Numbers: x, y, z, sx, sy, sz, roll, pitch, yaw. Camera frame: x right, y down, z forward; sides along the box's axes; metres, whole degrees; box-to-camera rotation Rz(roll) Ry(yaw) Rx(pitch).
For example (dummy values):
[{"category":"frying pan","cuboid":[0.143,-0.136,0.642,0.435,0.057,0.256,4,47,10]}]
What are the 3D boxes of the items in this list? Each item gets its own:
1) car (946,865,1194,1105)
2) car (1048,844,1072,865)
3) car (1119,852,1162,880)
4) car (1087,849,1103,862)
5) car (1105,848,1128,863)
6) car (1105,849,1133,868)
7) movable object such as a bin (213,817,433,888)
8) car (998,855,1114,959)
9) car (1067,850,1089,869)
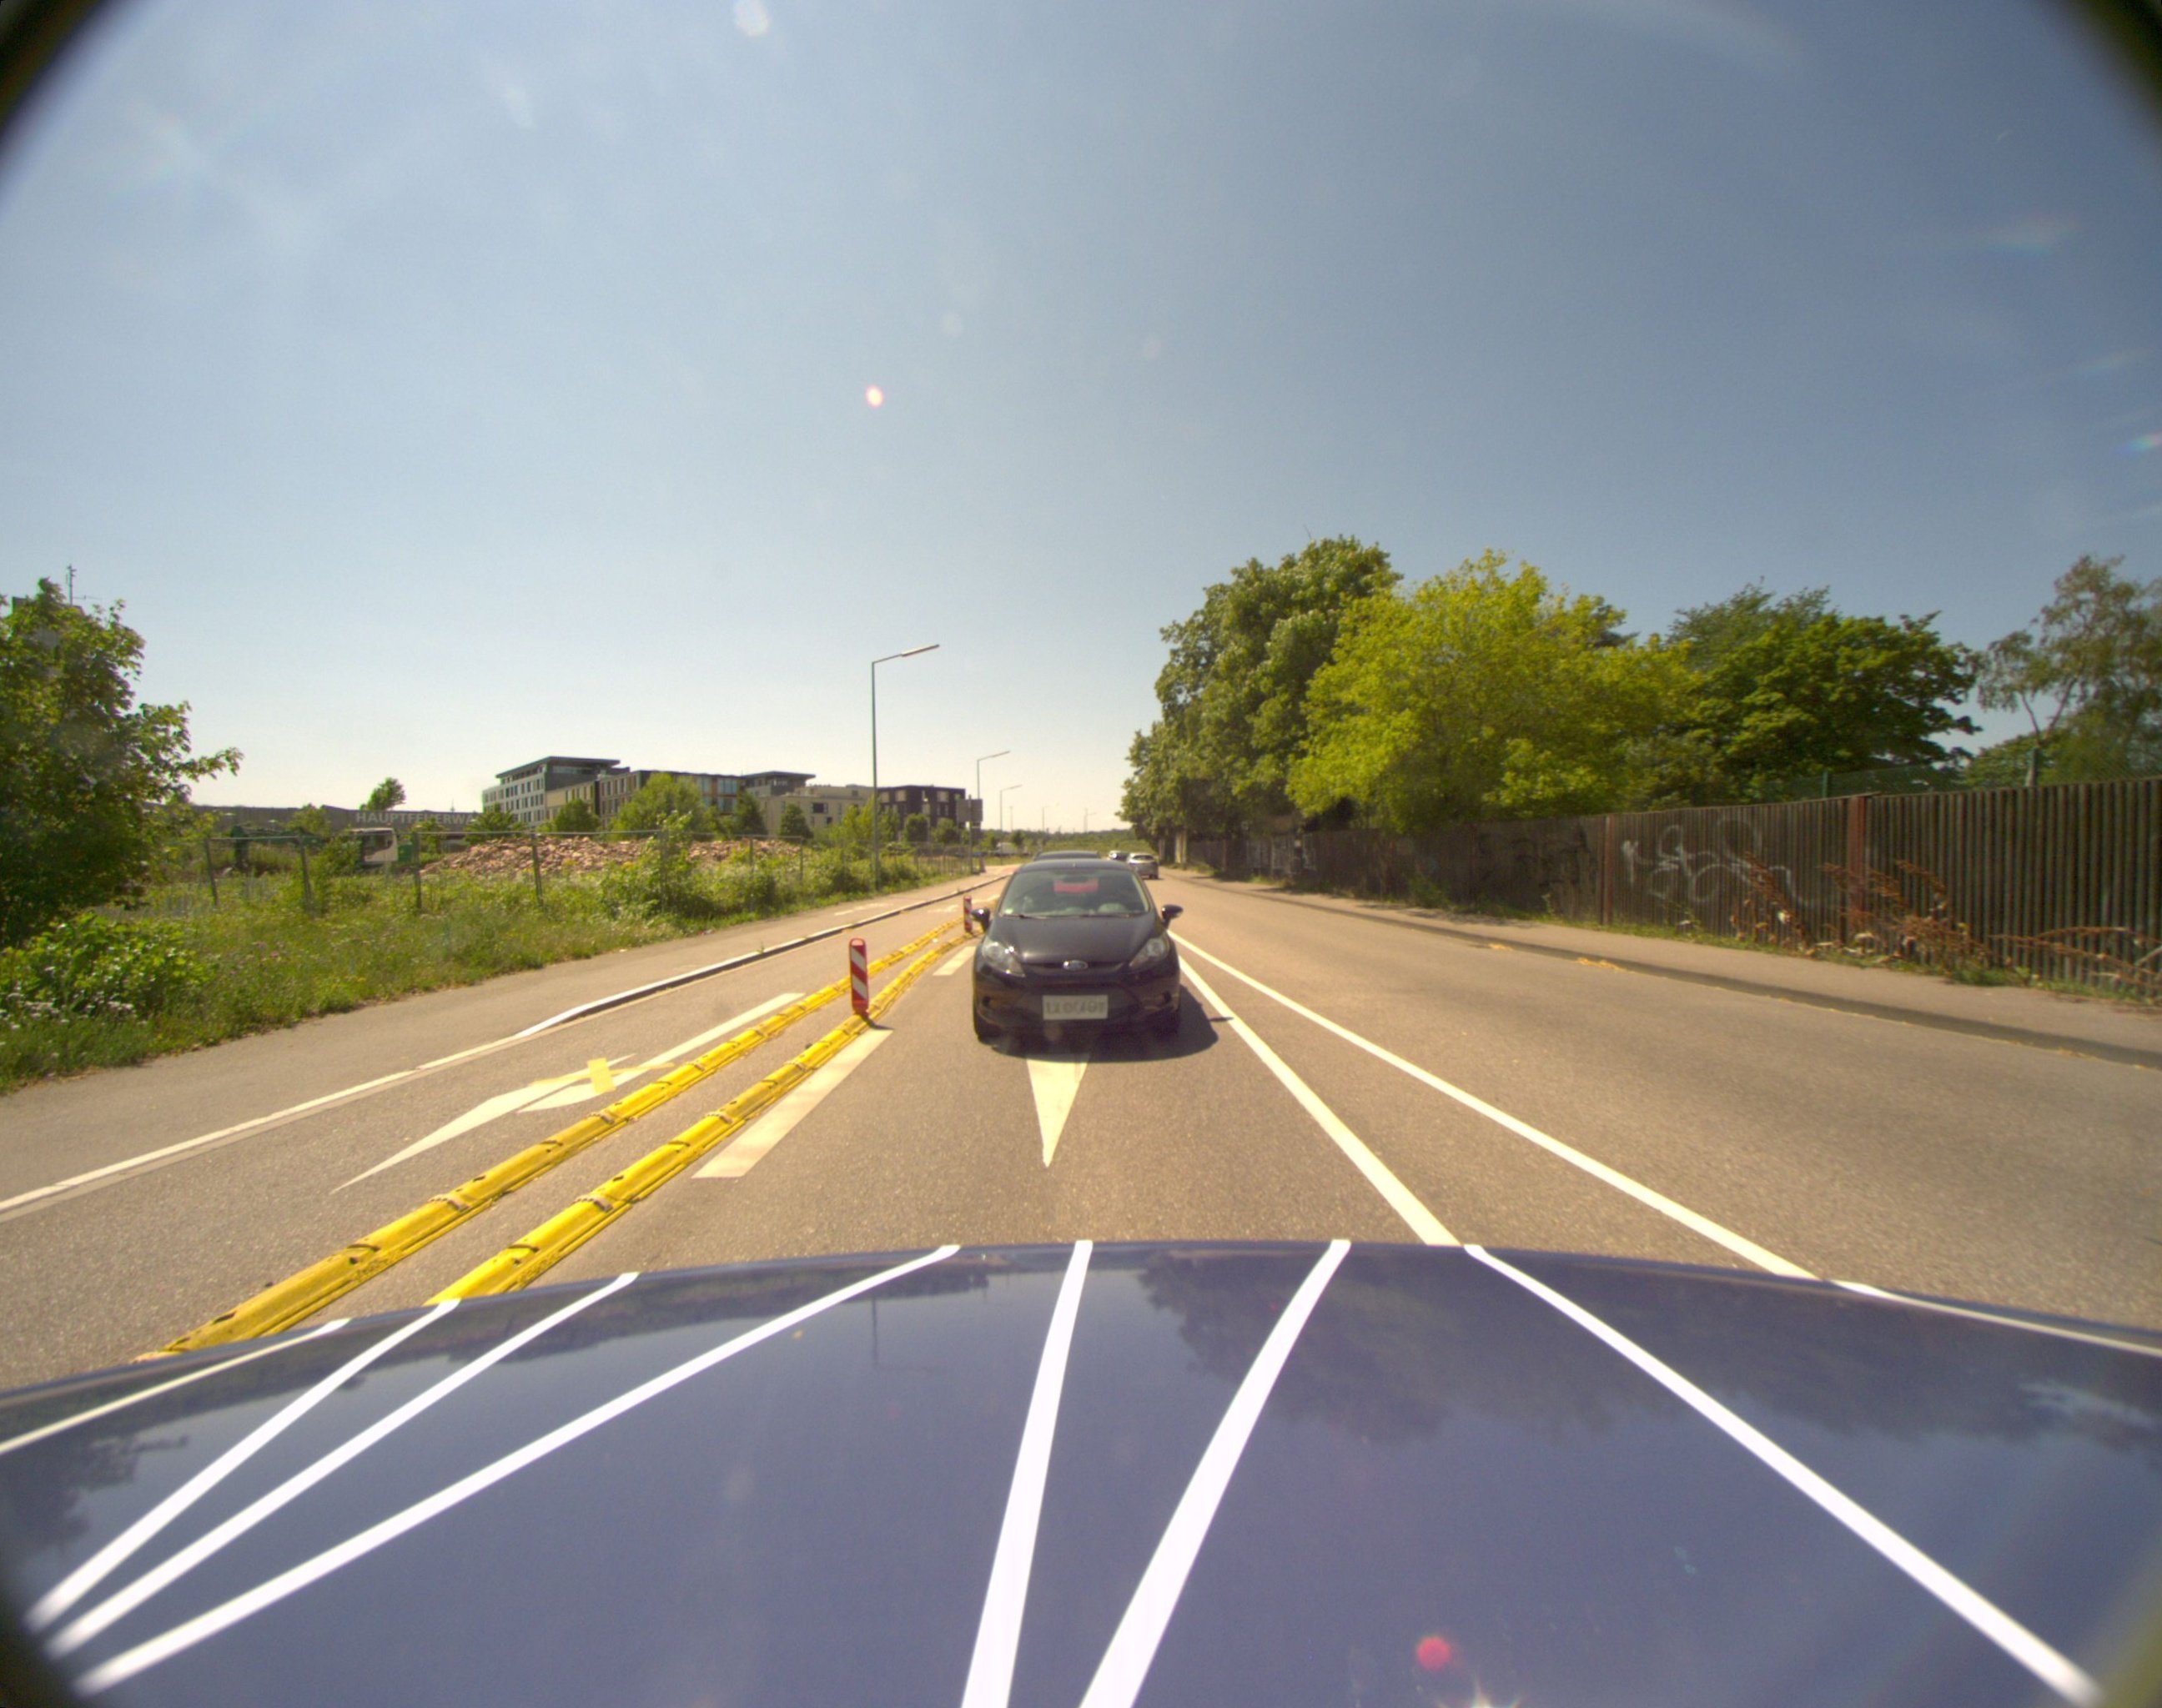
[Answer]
[{"category":"car","cuboid":[-0.050,0.903,6.963,1.632,1.499,3.819,-1,0,1]},{"category":"car","cuboid":[-1.636,0.050,58.343,1.759,1.536,3.693,-1,0,-2]},{"category":"car","cuboid":[3.264,0.618,42.417,1.719,1.455,3.841,1,0,-5]},{"category":"car","cuboid":[1.722,0.200,93.256,1.759,1.536,3.693,-1,0,-2]},{"category":"car","cuboid":[3.496,0.161,75.488,1.759,1.477,3.692,-1,0,-5]},{"category":"car","cuboid":[3.062,0.374,61.962,1.759,1.477,3.692,-1,0,-5]},{"category":"movable object such as a bin","cuboid":[-37.958,-0.156,38.581,2.810,3.131,7.608,-2,1,8]},{"category":"car","cuboid":[-0.350,0.795,13.533,1.720,1.518,4.211,-1,0,1]},{"category":"car","cuboid":[-0.253,0.452,63.933,1.759,1.536,3.693,-1,0,-2]}]
